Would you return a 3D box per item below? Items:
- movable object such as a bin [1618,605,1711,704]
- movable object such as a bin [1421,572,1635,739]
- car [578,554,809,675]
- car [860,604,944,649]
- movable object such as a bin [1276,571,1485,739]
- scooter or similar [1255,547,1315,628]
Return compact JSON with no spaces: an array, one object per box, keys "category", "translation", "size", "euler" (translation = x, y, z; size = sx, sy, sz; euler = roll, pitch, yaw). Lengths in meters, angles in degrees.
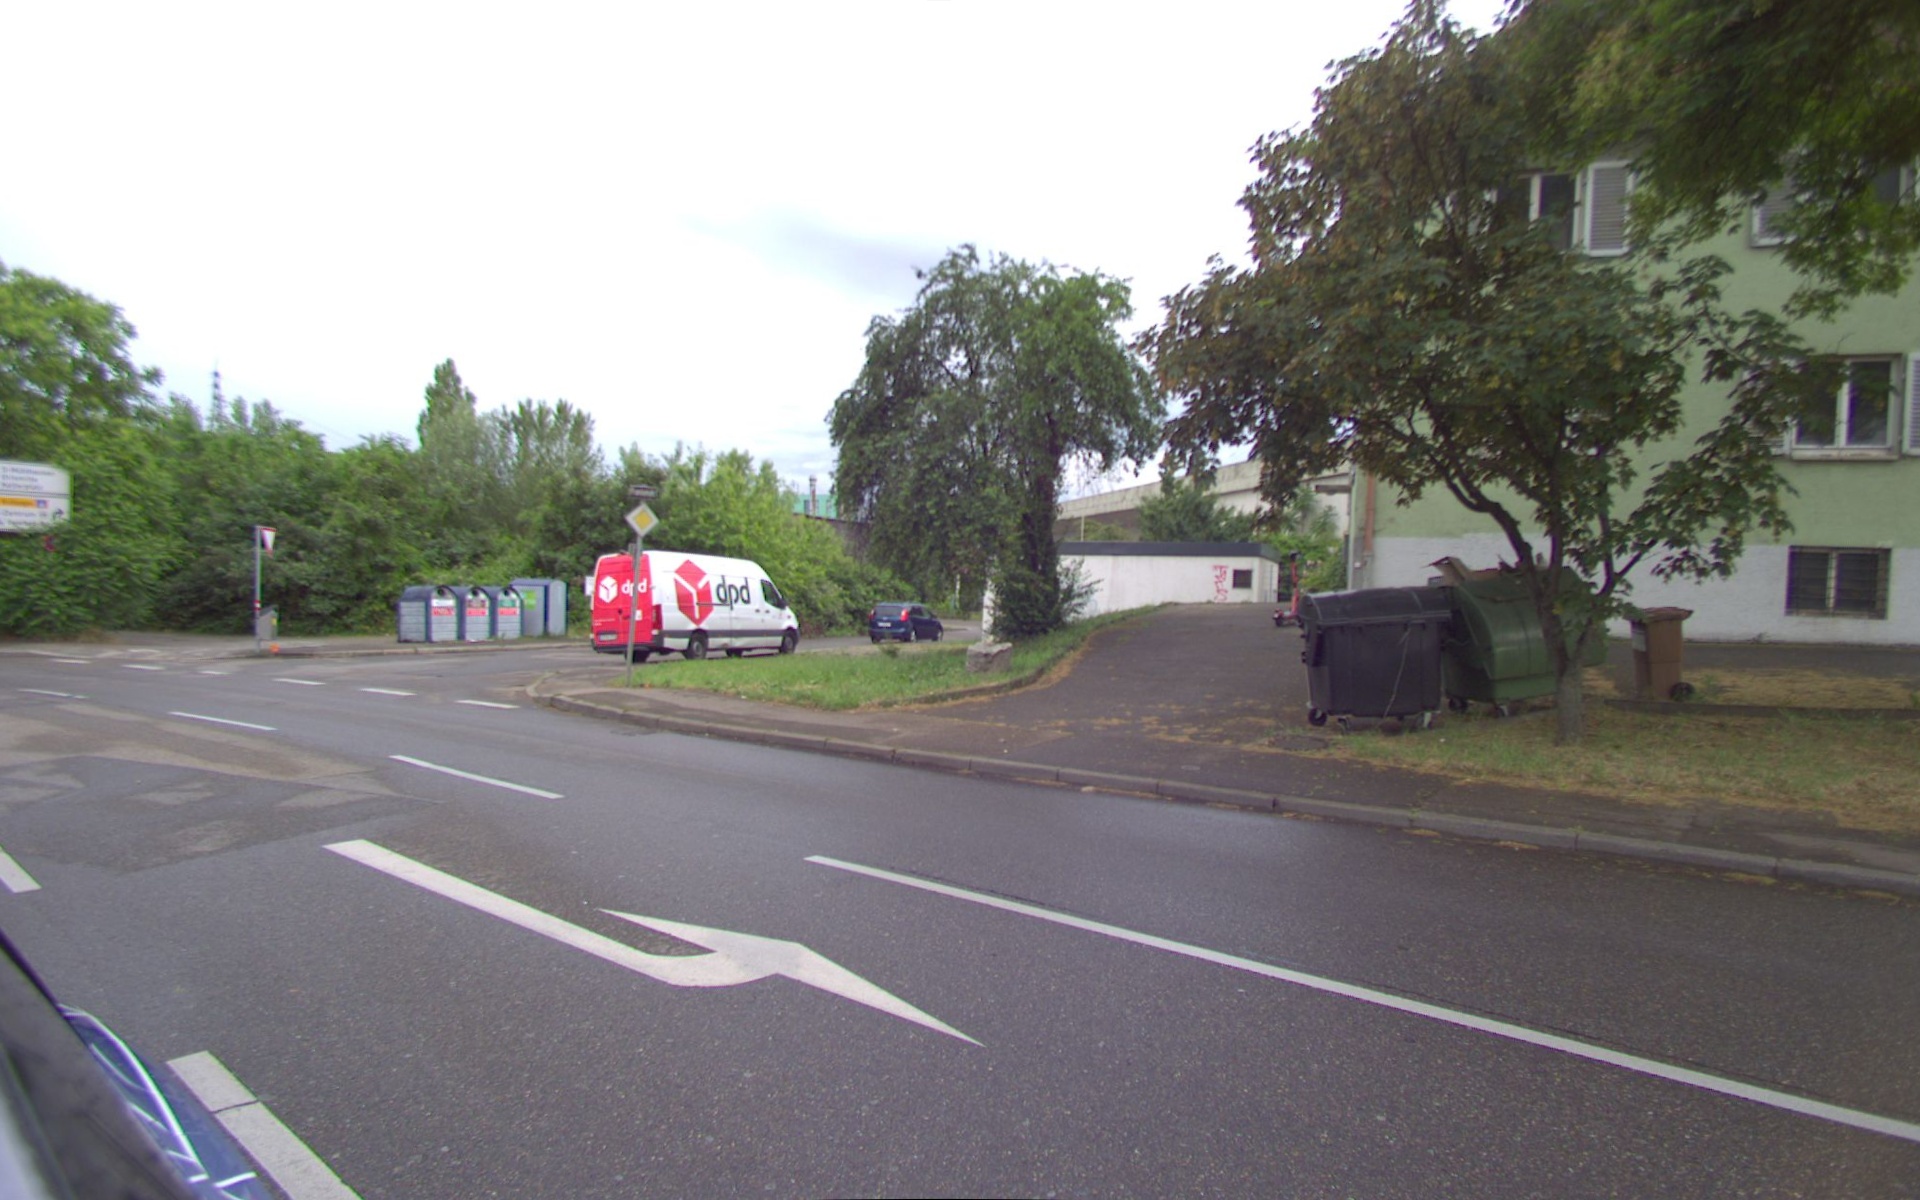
[{"category":"movable object such as a bin","translation":[7.202,0.535,10.347],"size":[0.723,0.964,0.551],"euler":[1,0,41]},{"category":"movable object such as a bin","translation":[5.701,0.513,10.233],"size":[1.440,1.448,1.102],"euler":[-5,3,-6]},{"category":"car","translation":[-6.515,0.303,25.919],"size":[2.246,2.675,6.777],"euler":[1,0,20]},{"category":"car","translation":[-2.235,1.001,40.409],"size":[1.984,1.642,4.228],"euler":[1,0,18]},{"category":"movable object such as a bin","translation":[4.245,0.503,10.342],"size":[1.440,1.448,1.296],"euler":[-5,3,-6]},{"category":"scooter or similar","translation":[5.521,-0.238,17.148],"size":[0.529,1.283,1.507],"euler":[1,4,35]}]
